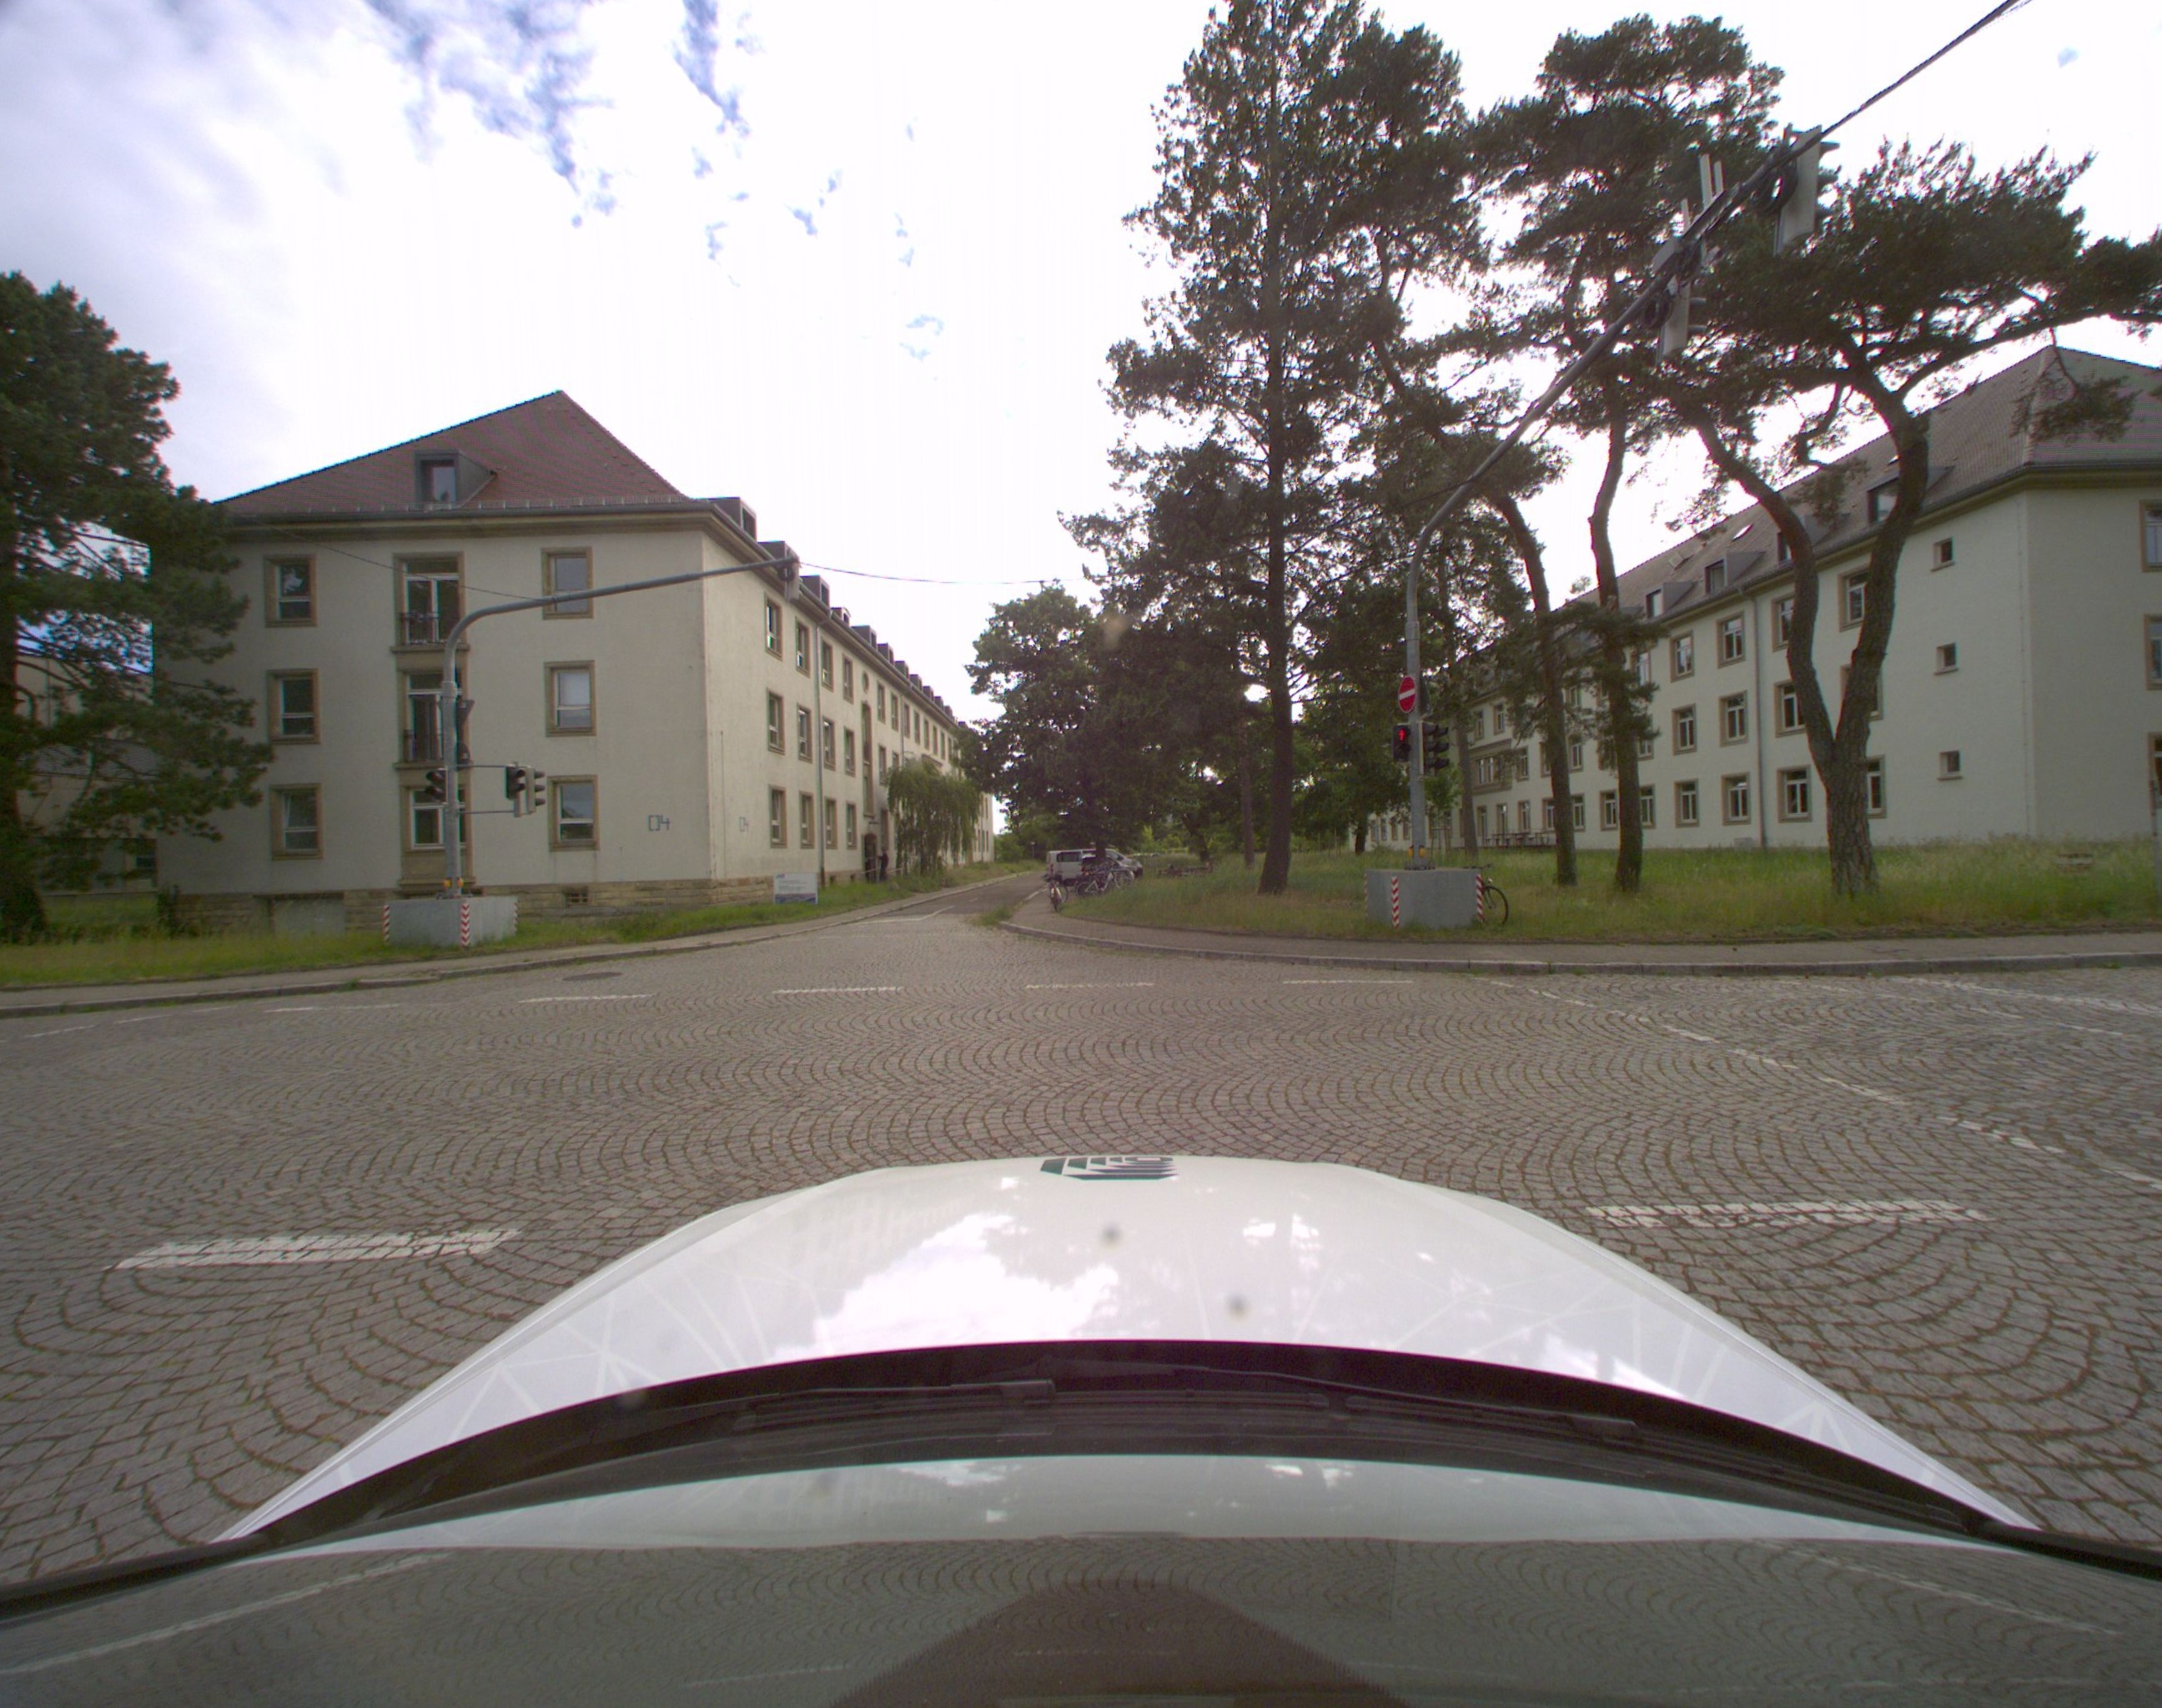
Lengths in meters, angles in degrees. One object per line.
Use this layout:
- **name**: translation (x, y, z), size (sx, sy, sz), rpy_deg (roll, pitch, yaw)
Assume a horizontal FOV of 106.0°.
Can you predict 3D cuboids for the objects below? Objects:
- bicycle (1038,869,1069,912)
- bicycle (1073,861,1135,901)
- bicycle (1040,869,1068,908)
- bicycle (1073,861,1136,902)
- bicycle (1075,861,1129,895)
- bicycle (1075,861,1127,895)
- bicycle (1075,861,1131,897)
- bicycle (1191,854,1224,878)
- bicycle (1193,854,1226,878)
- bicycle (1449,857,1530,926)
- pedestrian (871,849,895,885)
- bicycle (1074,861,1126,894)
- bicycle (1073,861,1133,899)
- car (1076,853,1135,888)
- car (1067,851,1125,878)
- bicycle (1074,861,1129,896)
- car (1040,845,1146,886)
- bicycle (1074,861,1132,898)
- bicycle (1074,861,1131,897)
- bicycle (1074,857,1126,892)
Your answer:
- **bicycle**: translation (-0.747, 0.986, 22.470), size (0.619, 1.113, 1.991), rpy_deg (-1, -1, 4)
- **bicycle**: translation (0.736, 0.866, 26.461), size (1.976, 1.248, 0.624), rpy_deg (-1, -1, -1)
- **bicycle**: translation (-0.792, 1.017, 24.425), size (0.619, 1.082, 1.680), rpy_deg (-1, -1, 5)
- **bicycle**: translation (0.729, 0.861, 25.832), size (1.976, 1.248, 0.624), rpy_deg (-1, -1, -1)
- **bicycle**: translation (0.768, 0.895, 30.483), size (1.976, 1.248, 0.624), rpy_deg (-1, -1, -1)
- **bicycle**: translation (0.751, 0.899, 30.997), size (1.976, 1.248, 0.624), rpy_deg (-1, -1, -1)
- **bicycle**: translation (0.773, 0.887, 29.405), size (1.976, 1.248, 0.624), rpy_deg (-1, -1, -1)
- **bicycle**: translation (6.299, 0.593, 40.570), size (1.543, 1.124, 0.401), rpy_deg (-2, -1, 2)
- **bicycle**: translation (6.208, 0.588, 39.340), size (1.543, 1.124, 0.401), rpy_deg (-2, -1, 2)
- **bicycle**: translation (6.653, 0.580, 13.344), size (0.577, 0.970, 1.680), rpy_deg (-4, 1, 5)
- **pedestrian**: translation (-10.174, 0.661, 41.870), size (0.833, 1.781, 0.943), rpy_deg (-2, 0, 6)
- **bicycle**: translation (0.740, 0.902, 31.491), size (1.976, 1.248, 0.624), rpy_deg (-1, -1, -1)
- **bicycle**: translation (0.731, 0.872, 27.387), size (1.976, 1.248, 0.624), rpy_deg (-1, -1, -1)
- **car**: translation (1.212, 0.800, 40.456), size (2.838, 1.558, 1.472), rpy_deg (-2, 1, 0)
- **car**: translation (1.054, 0.724, 57.827), size (4.019, 1.718, 1.680), rpy_deg (-2, -1, -1)
- **bicycle**: translation (0.740, 0.890, 29.802), size (1.976, 1.248, 0.624), rpy_deg (-1, -1, -1)
- **car**: translation (0.642, 0.595, 43.940), size (5.311, 1.916, 2.140), rpy_deg (-2, 0, -14)
- **bicycle**: translation (0.740, 0.879, 28.247), size (1.976, 1.248, 0.624), rpy_deg (-1, -1, -1)
- **bicycle**: translation (0.752, 0.883, 28.880), size (1.976, 1.248, 0.624), rpy_deg (-1, -1, -1)
- **bicycle**: translation (0.744, 0.793, 32.152), size (1.976, 1.248, 0.624), rpy_deg (-3, -1, -1)
